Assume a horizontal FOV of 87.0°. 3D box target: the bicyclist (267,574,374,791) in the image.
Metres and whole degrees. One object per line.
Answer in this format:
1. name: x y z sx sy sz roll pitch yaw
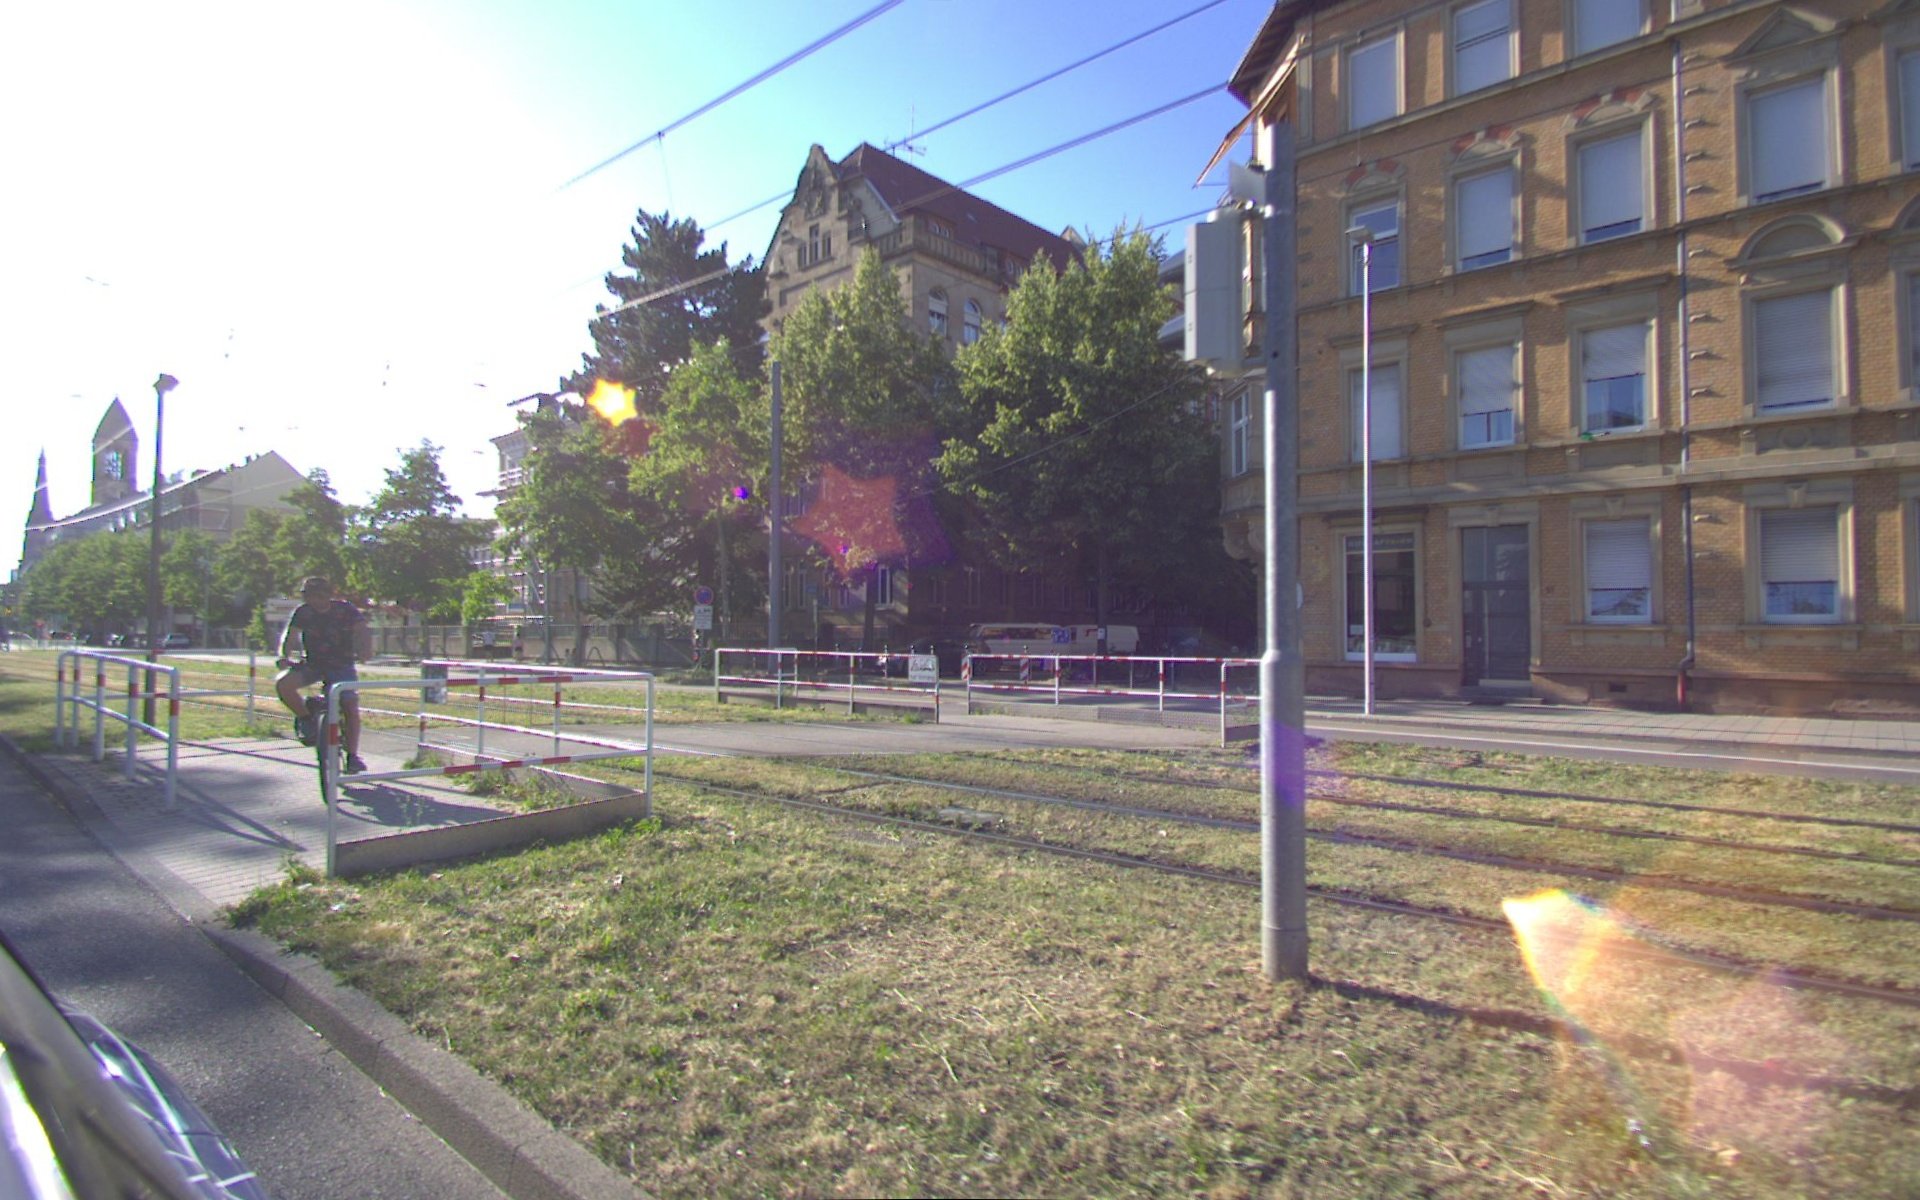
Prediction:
1. bicyclist: -5.400 0.656 8.568 0.710 1.726 0.748 -1 -1 -32

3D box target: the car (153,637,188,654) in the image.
1. car: -72.593 4.158 93.032 3.998 1.522 1.775 -2 -3 41

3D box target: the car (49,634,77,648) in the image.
1. car: -100.427 4.560 113.290 3.998 1.522 1.775 -2 -3 41

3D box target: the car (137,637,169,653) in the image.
1. car: -80.095 4.440 100.402 3.998 1.522 1.775 -2 -3 41

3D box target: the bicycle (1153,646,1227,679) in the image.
1. bicycle: 6.824 1.856 30.031 2.067 0.916 0.707 -1 0 20

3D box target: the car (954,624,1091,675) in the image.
1. car: 2.464 1.909 39.937 4.983 1.838 2.029 0 0 -22

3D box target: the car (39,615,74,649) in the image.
1. car: -77.653 2.746 86.952 3.999 2.803 1.775 -2 -3 42

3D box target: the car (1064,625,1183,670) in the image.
1. car: 7.085 2.034 44.256 5.010 1.838 2.018 0 0 7

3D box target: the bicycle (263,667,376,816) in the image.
1. bicycle: -5.379 1.112 8.539 0.710 0.986 2.068 -1 -1 -32

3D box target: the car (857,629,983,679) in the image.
1. car: -1.361 1.817 34.908 3.931 1.522 1.806 -1 0 -26
